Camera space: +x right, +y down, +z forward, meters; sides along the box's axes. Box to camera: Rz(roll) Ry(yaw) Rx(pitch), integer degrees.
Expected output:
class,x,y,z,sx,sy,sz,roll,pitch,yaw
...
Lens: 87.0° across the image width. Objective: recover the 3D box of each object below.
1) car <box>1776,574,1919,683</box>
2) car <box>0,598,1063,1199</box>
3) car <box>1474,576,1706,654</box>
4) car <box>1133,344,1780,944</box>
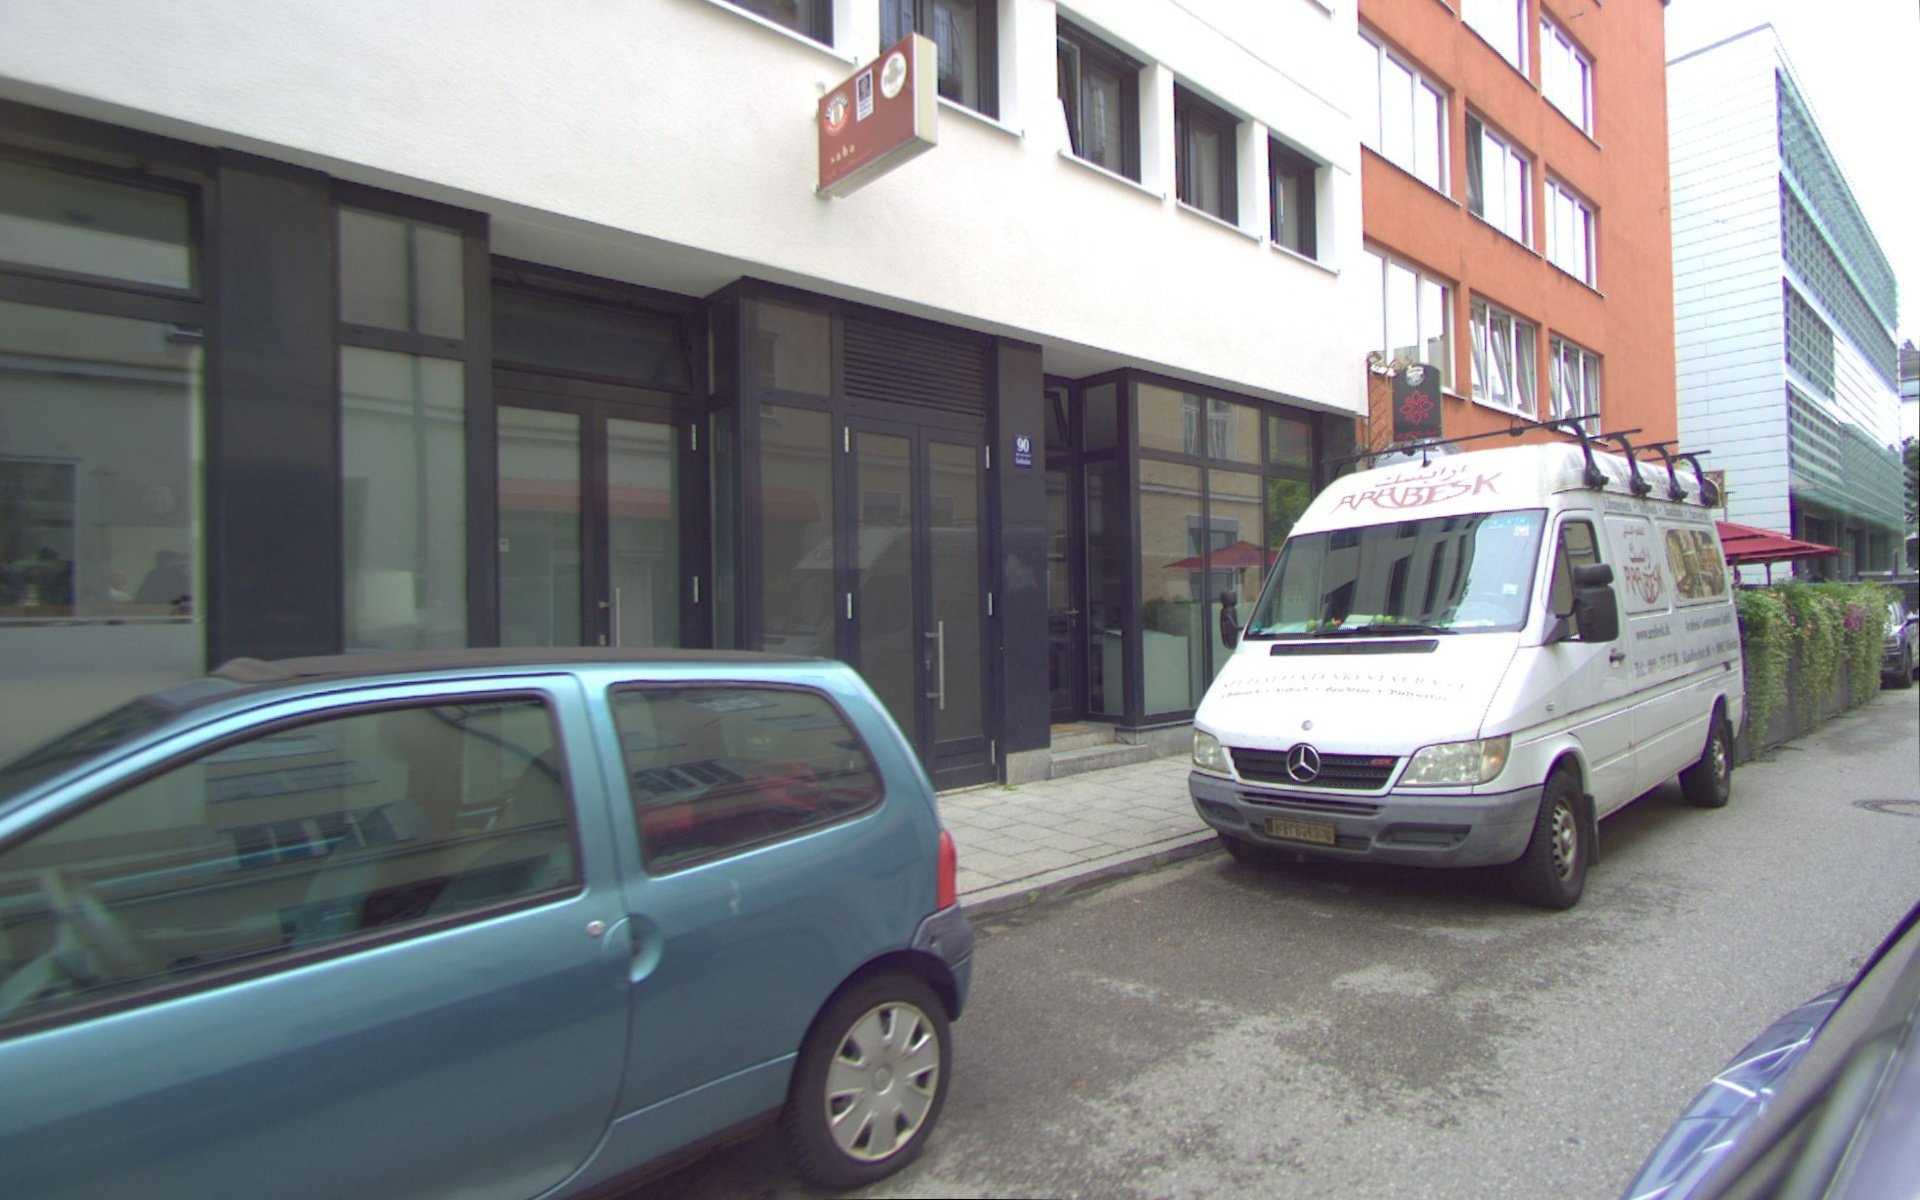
class,x,y,z,sx,sy,sz,roll,pitch,yaw
car,16.391,0.471,18.224,4.312,1.732,1.827,-1,-2,-40
car,-1.499,0.763,2.537,3.492,1.483,1.581,0,-1,-43
car,15.281,0.347,24.742,1.809,1.742,4.468,0,0,-41
car,3.825,0.197,6.998,5.895,2.538,1.922,0,-2,-43
